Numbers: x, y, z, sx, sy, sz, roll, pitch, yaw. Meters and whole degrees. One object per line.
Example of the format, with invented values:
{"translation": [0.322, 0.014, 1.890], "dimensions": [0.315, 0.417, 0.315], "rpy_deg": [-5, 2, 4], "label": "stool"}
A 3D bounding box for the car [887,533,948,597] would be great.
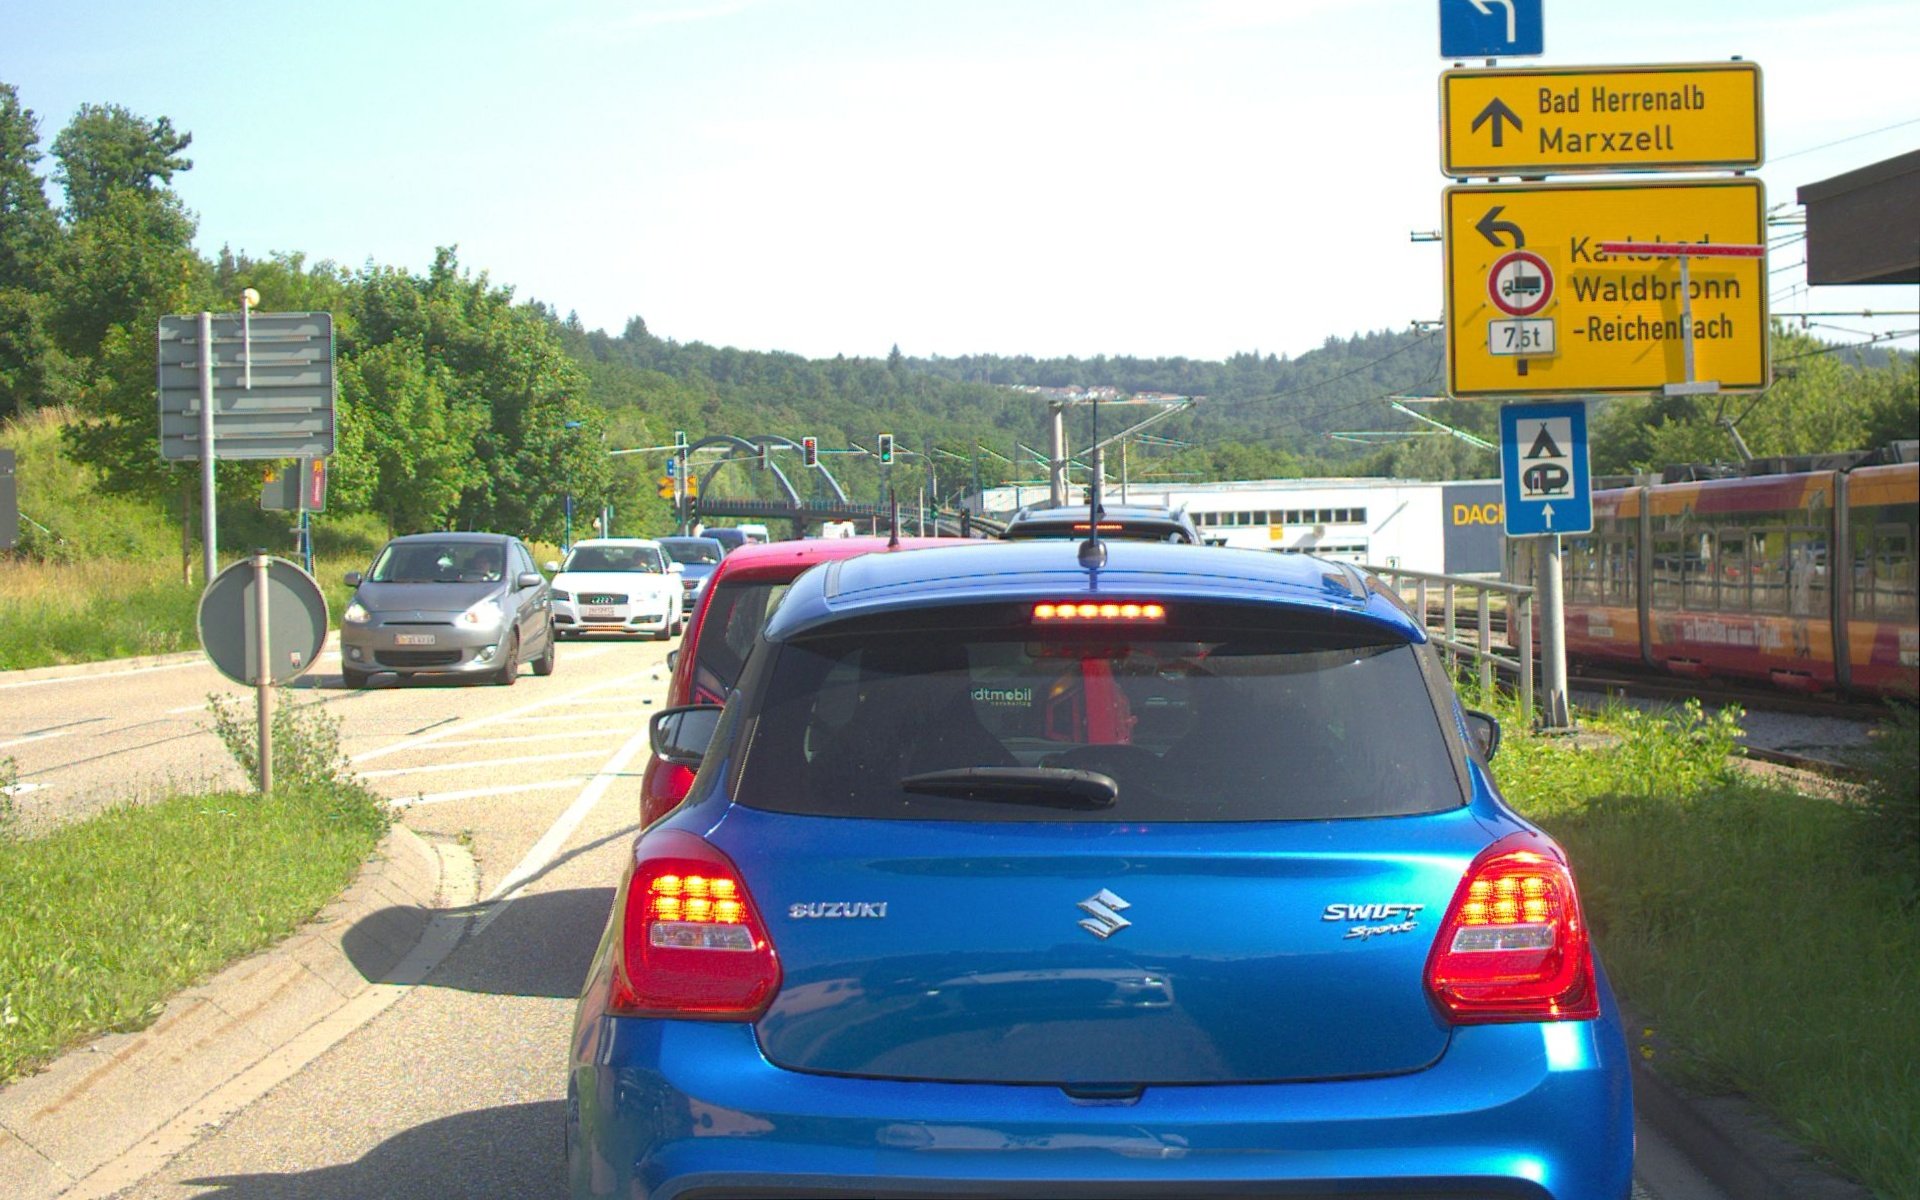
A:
{"translation": [-1.462, -1.222, 117.711], "dimensions": [1.993, 2.006, 4.001], "rpy_deg": [2, 2, -1], "label": "car"}

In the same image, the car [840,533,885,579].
{"translation": [-4.588, -2.088, 162.670], "dimensions": [1.993, 2.006, 4.001], "rpy_deg": [2, 2, -1], "label": "car"}

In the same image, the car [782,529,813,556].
{"translation": [-11.414, -4.036, 242.131], "dimensions": [1.993, 1.733, 4.001], "rpy_deg": [2, 2, -1], "label": "car"}

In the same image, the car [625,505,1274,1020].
{"translation": [-0.002, 0.473, 12.716], "dimensions": [1.993, 1.566, 4.000], "rpy_deg": [1, 1, 1], "label": "car"}

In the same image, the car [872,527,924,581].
{"translation": [-2.473, -1.874, 137.781], "dimensions": [1.993, 2.006, 4.001], "rpy_deg": [2, 2, -1], "label": "car"}

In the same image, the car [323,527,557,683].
{"translation": [-5.087, 0.015, 34.044], "dimensions": [1.672, 1.436, 3.840], "rpy_deg": [1, 1, 1], "label": "car"}

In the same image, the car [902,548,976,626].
{"translation": [-0.607, -0.395, 97.560], "dimensions": [1.993, 2.006, 4.001], "rpy_deg": [2, 2, -1], "label": "car"}

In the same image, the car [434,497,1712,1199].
{"translation": [0.120, 0.581, 7.047], "dimensions": [1.868, 1.543, 4.000], "rpy_deg": [0, 1, -1], "label": "car"}

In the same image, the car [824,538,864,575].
{"translation": [-6.231, -2.328, 184.370], "dimensions": [1.993, 1.810, 4.001], "rpy_deg": [2, 2, -1], "label": "car"}

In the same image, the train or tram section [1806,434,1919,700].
{"translation": [13.646, -0.355, 41.095], "dimensions": [2.855, 3.353, 14.356], "rpy_deg": [0, 1, -3], "label": "train or tram section"}

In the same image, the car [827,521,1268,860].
{"translation": [0.438, 0.360, 17.984], "dimensions": [1.993, 1.526, 4.602], "rpy_deg": [-1, 1, 1], "label": "car"}

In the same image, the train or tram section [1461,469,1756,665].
{"translation": [12.193, -0.745, 66.043], "dimensions": [2.755, 3.352, 12.050], "rpy_deg": [1, 2, -3], "label": "train or tram section"}

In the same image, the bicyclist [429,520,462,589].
{"translation": [-11.378, -1.014, 76.032], "dimensions": [0.629, 1.502, 0.506], "rpy_deg": [2, 2, -3], "label": "bicyclist"}

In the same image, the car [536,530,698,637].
{"translation": [-4.824, -0.265, 48.850], "dimensions": [1.832, 1.364, 3.950], "rpy_deg": [1, 2, 1], "label": "car"}

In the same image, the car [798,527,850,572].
{"translation": [-5.535, -2.070, 140.176], "dimensions": [1.993, 1.777, 4.000], "rpy_deg": [1, 1, -1], "label": "car"}

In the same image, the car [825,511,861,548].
{"translation": [-6.939, -4.206, 204.186], "dimensions": [1.993, 2.137, 4.720], "rpy_deg": [1, 1, -1], "label": "car"}

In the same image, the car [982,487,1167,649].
{"translation": [1.300, -0.399, 39.953], "dimensions": [1.993, 1.730, 4.000], "rpy_deg": [2, 1, 1], "label": "car"}

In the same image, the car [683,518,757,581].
{"translation": [-7.089, -1.506, 101.745], "dimensions": [1.832, 1.707, 3.811], "rpy_deg": [2, 2, 1], "label": "car"}

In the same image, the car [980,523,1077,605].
{"translation": [1.378, -0.738, 68.613], "dimensions": [1.832, 1.488, 3.811], "rpy_deg": [2, 2, 1], "label": "car"}

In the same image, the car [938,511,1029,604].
{"translation": [0.523, -1.021, 80.801], "dimensions": [1.993, 2.006, 4.001], "rpy_deg": [2, 2, -1], "label": "car"}

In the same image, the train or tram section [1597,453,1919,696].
{"translation": [12.835, -0.421, 54.091], "dimensions": [2.786, 3.353, 12.049], "rpy_deg": [1, 1, -3], "label": "train or tram section"}

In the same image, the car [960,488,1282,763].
{"translation": [1.056, 0.108, 24.066], "dimensions": [1.993, 1.681, 4.497], "rpy_deg": [2, 1, 1], "label": "car"}

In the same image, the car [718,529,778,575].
{"translation": [-7.238, -1.657, 117.673], "dimensions": [1.832, 1.426, 3.811], "rpy_deg": [2, 2, -1], "label": "car"}

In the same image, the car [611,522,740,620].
{"translation": [-4.954, -0.530, 60.315], "dimensions": [1.832, 1.463, 3.811], "rpy_deg": [2, 3, 1], "label": "car"}
